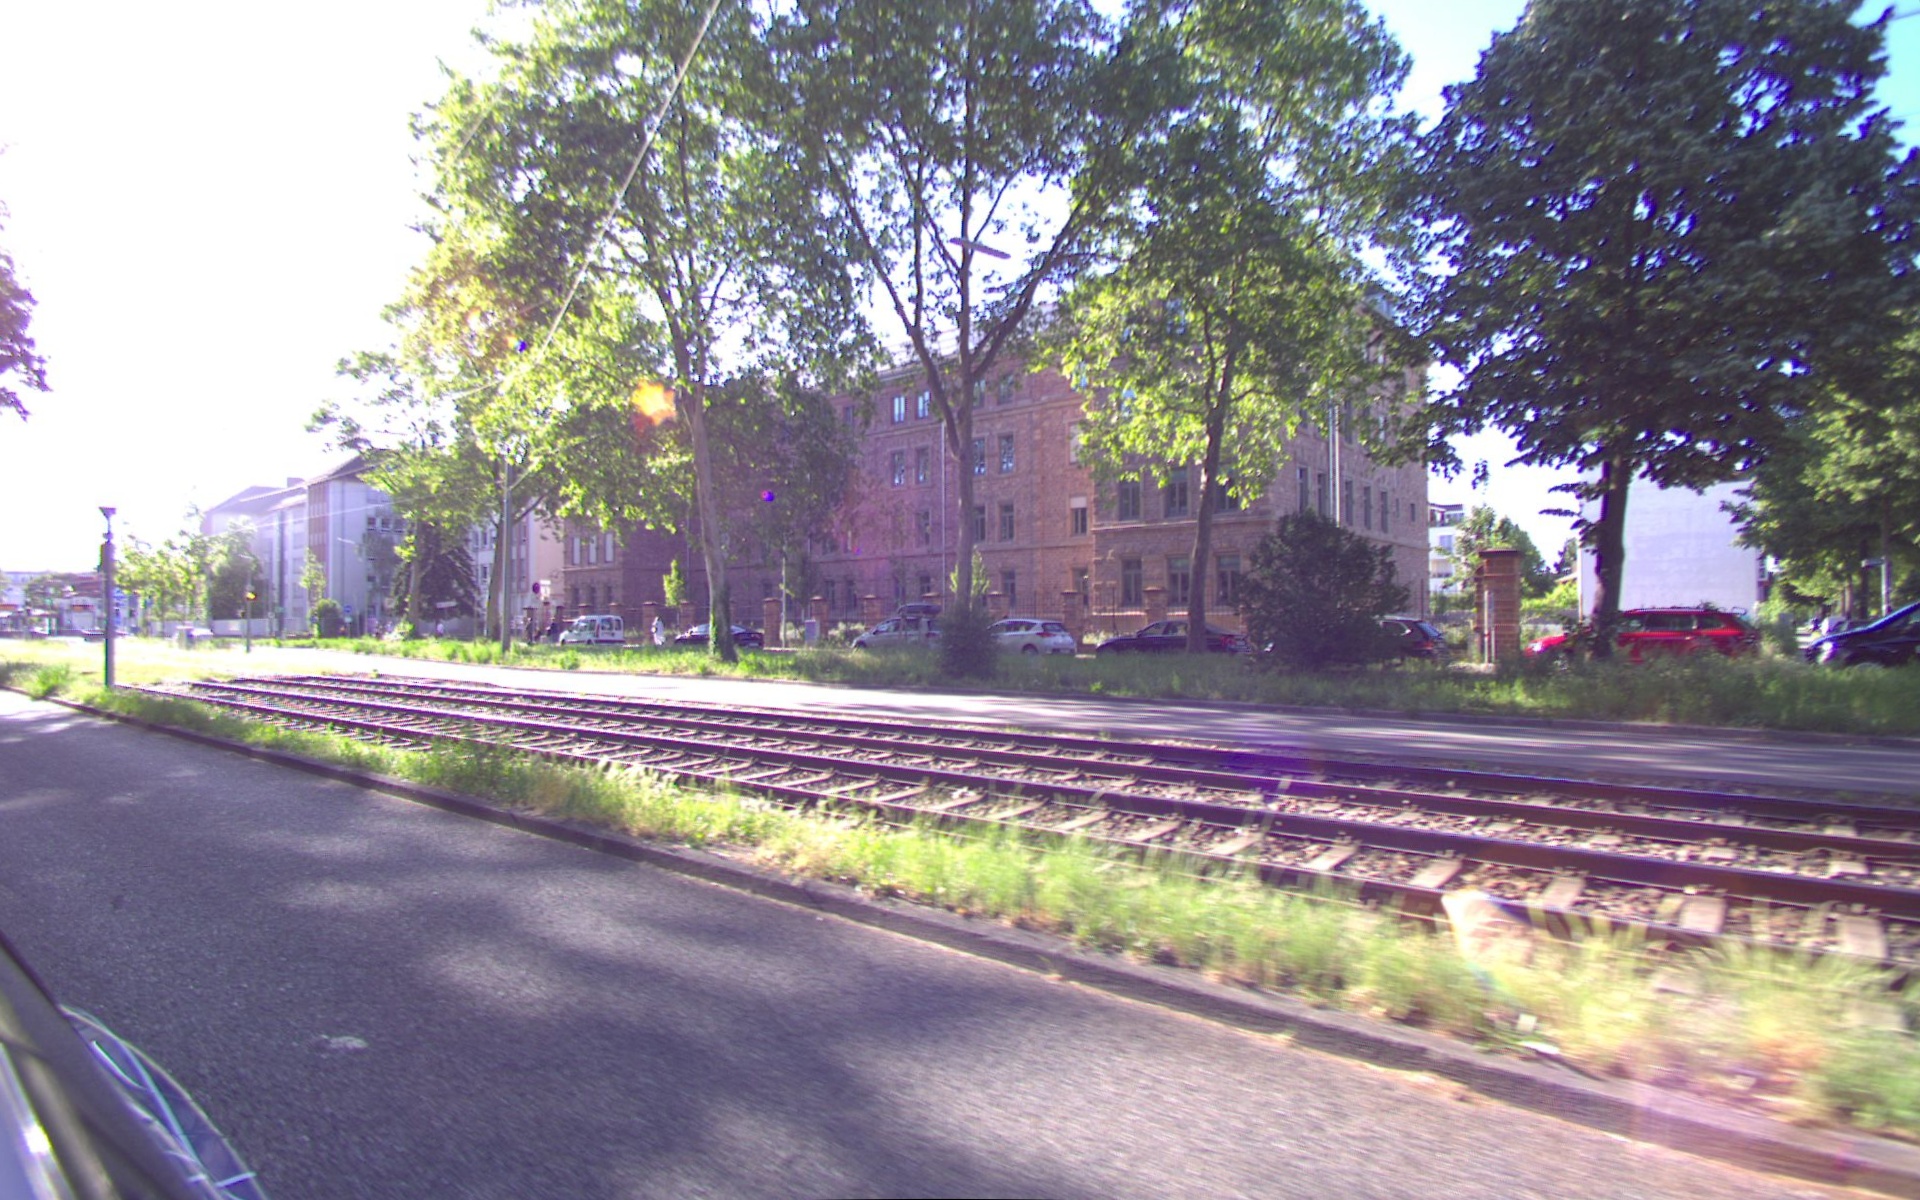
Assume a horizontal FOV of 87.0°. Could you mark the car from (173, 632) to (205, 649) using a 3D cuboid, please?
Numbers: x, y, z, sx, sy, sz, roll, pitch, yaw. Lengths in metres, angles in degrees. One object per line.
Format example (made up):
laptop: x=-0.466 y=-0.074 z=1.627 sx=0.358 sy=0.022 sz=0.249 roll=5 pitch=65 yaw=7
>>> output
car: x=-78.347 y=4.105 z=102.836 sx=4.150 sy=1.720 sz=1.971 roll=-2 pitch=-2 yaw=44

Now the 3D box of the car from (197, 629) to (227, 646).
car: x=-70.715 y=3.533 z=95.633 sx=1.745 sy=1.635 sz=4.479 roll=1 pitch=-2 yaw=-43

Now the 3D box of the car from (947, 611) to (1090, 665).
car: x=1.822 y=1.211 z=32.769 sx=4.422 sy=1.627 sz=1.971 roll=-2 pitch=-2 yaw=45

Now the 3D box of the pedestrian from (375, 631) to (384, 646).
pedestrian: x=-44.705 y=2.949 z=77.926 sx=0.586 sy=1.108 sz=0.439 roll=-2 pitch=-2 yaw=36

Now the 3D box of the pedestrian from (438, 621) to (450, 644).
pedestrian: x=-41.142 y=2.612 z=80.681 sx=0.572 sy=1.851 sz=0.686 roll=-2 pitch=-2 yaw=40

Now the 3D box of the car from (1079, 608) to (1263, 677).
car: x=5.985 y=1.190 z=29.060 sx=4.733 sy=1.823 sz=2.088 roll=-2 pitch=-2 yaw=40

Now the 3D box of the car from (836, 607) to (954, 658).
car: x=-2.385 y=1.171 z=36.300 sx=4.422 sy=1.732 sz=1.748 roll=-2 pitch=-2 yaw=45

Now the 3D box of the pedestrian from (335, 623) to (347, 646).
pedestrian: x=-54.664 y=3.075 z=89.358 sx=0.859 sy=2.029 sz=0.656 roll=-2 pitch=-2 yaw=40

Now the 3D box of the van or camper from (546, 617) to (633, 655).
van or camper: x=-18.269 y=1.762 z=49.835 sx=4.427 sy=1.801 sz=1.974 roll=-2 pitch=-2 yaw=39

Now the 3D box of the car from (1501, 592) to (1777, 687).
car: x=14.536 y=0.838 z=21.825 sx=4.733 sy=1.823 sz=2.088 roll=-2 pitch=-2 yaw=39

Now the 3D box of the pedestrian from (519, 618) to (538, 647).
pedestrian: x=-28.639 y=2.163 z=67.175 sx=0.941 sy=1.914 sz=0.891 roll=-2 pitch=-2 yaw=41

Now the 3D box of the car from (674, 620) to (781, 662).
car: x=-9.849 y=1.733 z=42.724 sx=4.824 sy=1.662 sz=1.973 roll=-3 pitch=-2 yaw=41

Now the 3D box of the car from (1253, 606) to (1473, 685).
car: x=10.085 y=1.115 z=25.525 sx=4.732 sy=1.823 sz=2.088 roll=-2 pitch=-2 yaw=39

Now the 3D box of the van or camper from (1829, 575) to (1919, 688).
van or camper: x=19.013 y=0.550 z=18.074 sx=5.213 sy=2.029 sz=2.243 roll=-1 pitch=-1 yaw=40

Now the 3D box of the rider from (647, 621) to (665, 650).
rider: x=-17.394 y=2.046 z=57.849 sx=0.686 sy=1.657 sz=0.721 roll=-2 pitch=-2 yaw=41

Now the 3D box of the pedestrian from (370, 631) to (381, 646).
pedestrian: x=-45.232 y=2.979 z=78.300 sx=0.478 sy=1.108 sz=0.580 roll=-2 pitch=-2 yaw=39

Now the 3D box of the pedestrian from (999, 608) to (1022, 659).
pedestrian: x=2.050 y=1.356 z=40.948 sx=0.625 sy=2.029 sz=0.707 roll=-2 pitch=-2 yaw=41
